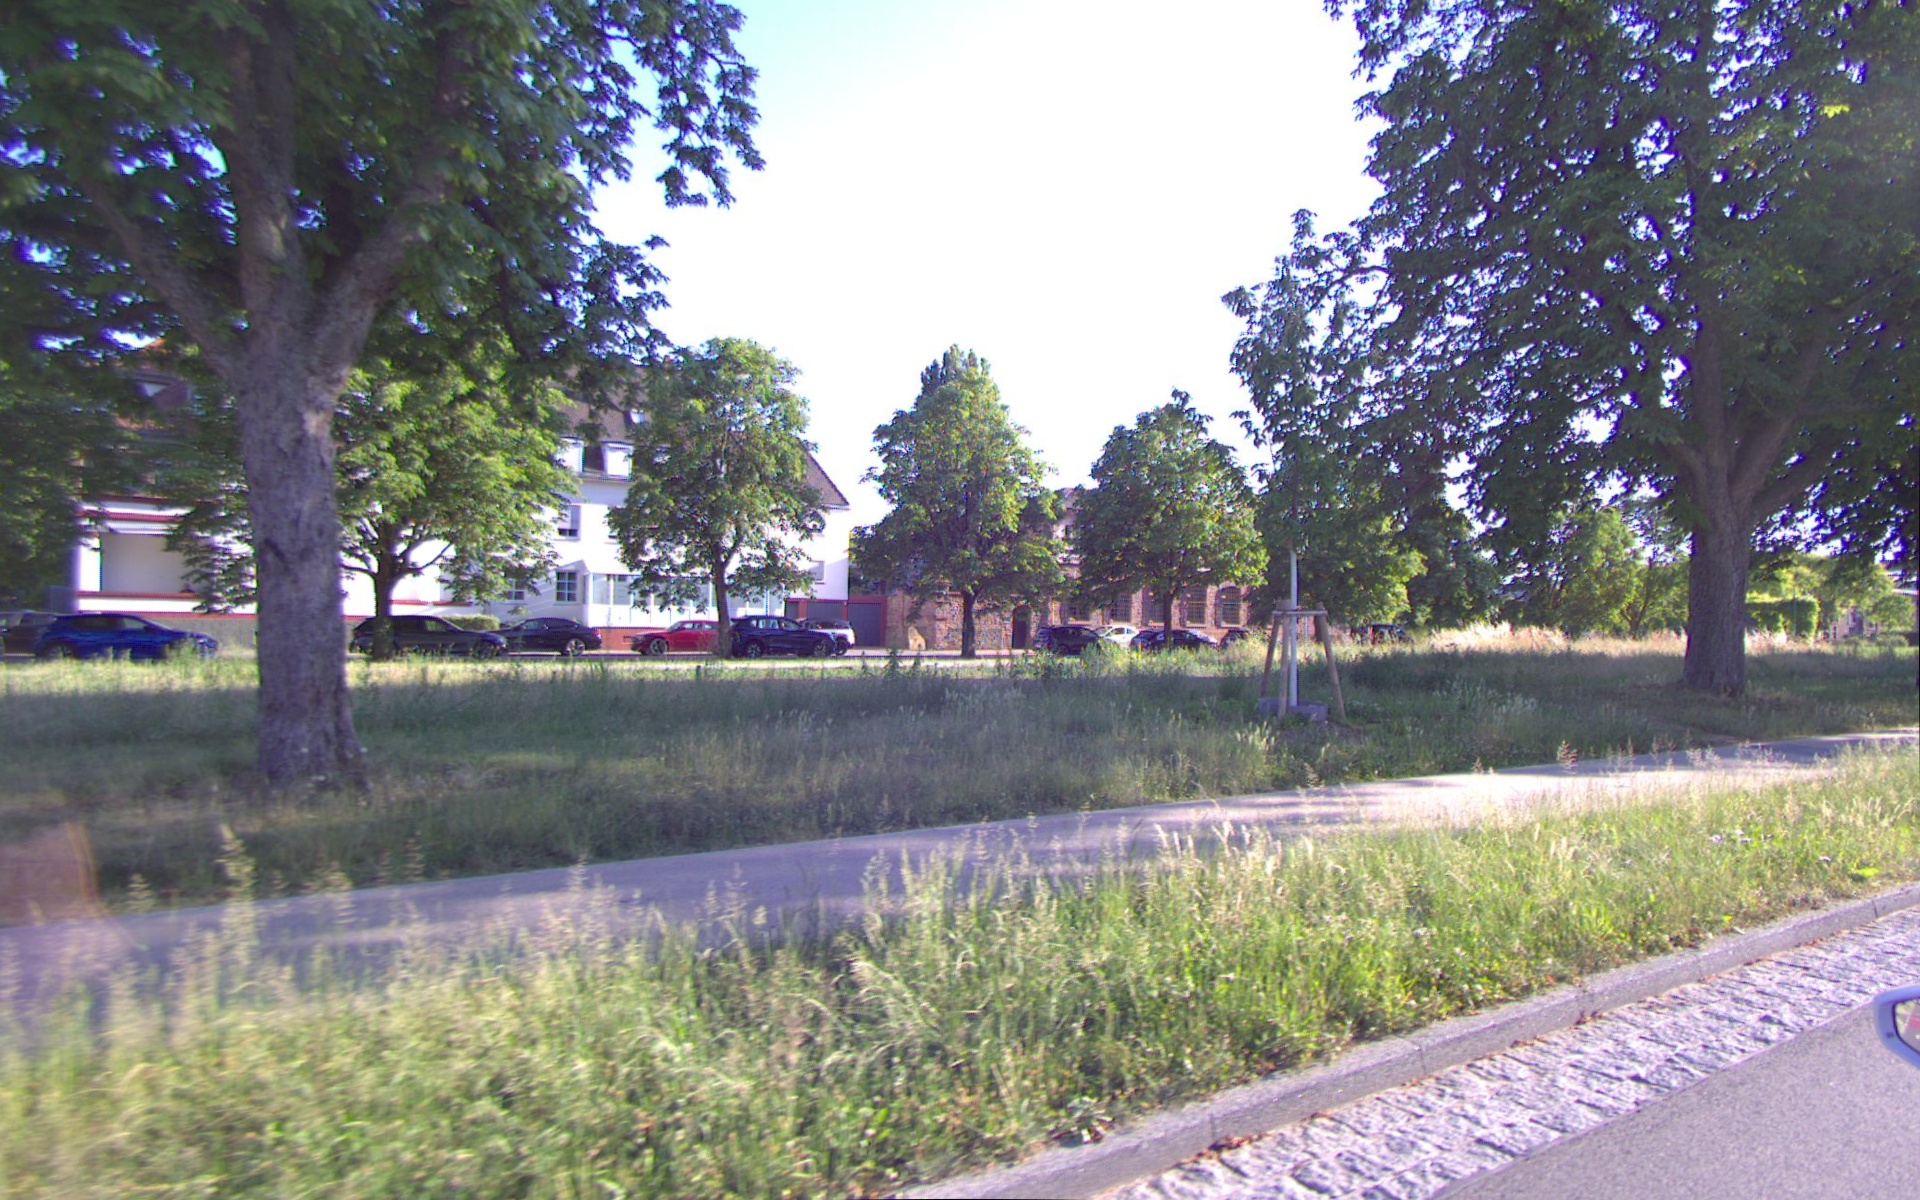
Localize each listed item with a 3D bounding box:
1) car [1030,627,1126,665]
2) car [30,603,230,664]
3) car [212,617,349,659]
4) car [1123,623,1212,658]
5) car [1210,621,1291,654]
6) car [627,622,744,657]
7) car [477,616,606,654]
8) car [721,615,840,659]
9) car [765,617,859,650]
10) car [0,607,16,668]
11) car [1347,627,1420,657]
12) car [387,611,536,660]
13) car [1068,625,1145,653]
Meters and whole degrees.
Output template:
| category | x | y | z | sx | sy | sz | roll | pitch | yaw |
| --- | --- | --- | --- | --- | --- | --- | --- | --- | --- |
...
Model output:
| category | x | y | z | sx | sy | sz | roll | pitch | yaw |
| --- | --- | --- | --- | --- | --- | --- | --- | --- | --- |
| car | 5.345 | 2.055 | 45.317 | 4.173 | 1.618 | 1.684 | 2 | -1 | -31 |
| car | -23.494 | 0.954 | 28.661 | 4.177 | 1.618 | 1.682 | 2 | -1 | -34 |
| car | -23.695 | 1.328 | 35.172 | 3.806 | 1.350 | 1.563 | 2 | -1 | -29 |
| car | 9.990 | 1.950 | 48.336 | 4.173 | 1.618 | 1.684 | 2 | -1 | -31 |
| car | 15.092 | 1.956 | 52.186 | 4.173 | 1.618 | 1.684 | 2 | -1 | -31 |
| car | -11.292 | 1.626 | 41.428 | 4.425 | 1.350 | 1.563 | 2 | -1 | -30 |
| car | -16.066 | 1.364 | 38.646 | 4.427 | 1.350 | 1.563 | 2 | -1 | -30 |
| car | -6.844 | 1.415 | 38.392 | 4.173 | 1.618 | 1.684 | 2 | -1 | -31 |
| car | -6.518 | 1.498 | 44.418 | 3.806 | 1.350 | 1.563 | 2 | -1 | -29 |
| car | -27.831 | 0.931 | 25.979 | 4.707 | 1.618 | 1.682 | 2 | -1 | -34 |
| car | 23.864 | 2.345 | 56.606 | 4.173 | 1.618 | 1.684 | 2 | -1 | -31 |
| car | -16.174 | 1.161 | 32.641 | 4.175 | 1.496 | 1.683 | 2 | -1 | -32 |
| car | 7.780 | 2.053 | 53.241 | 3.954 | 1.424 | 1.621 | 2 | -1 | -31 |
